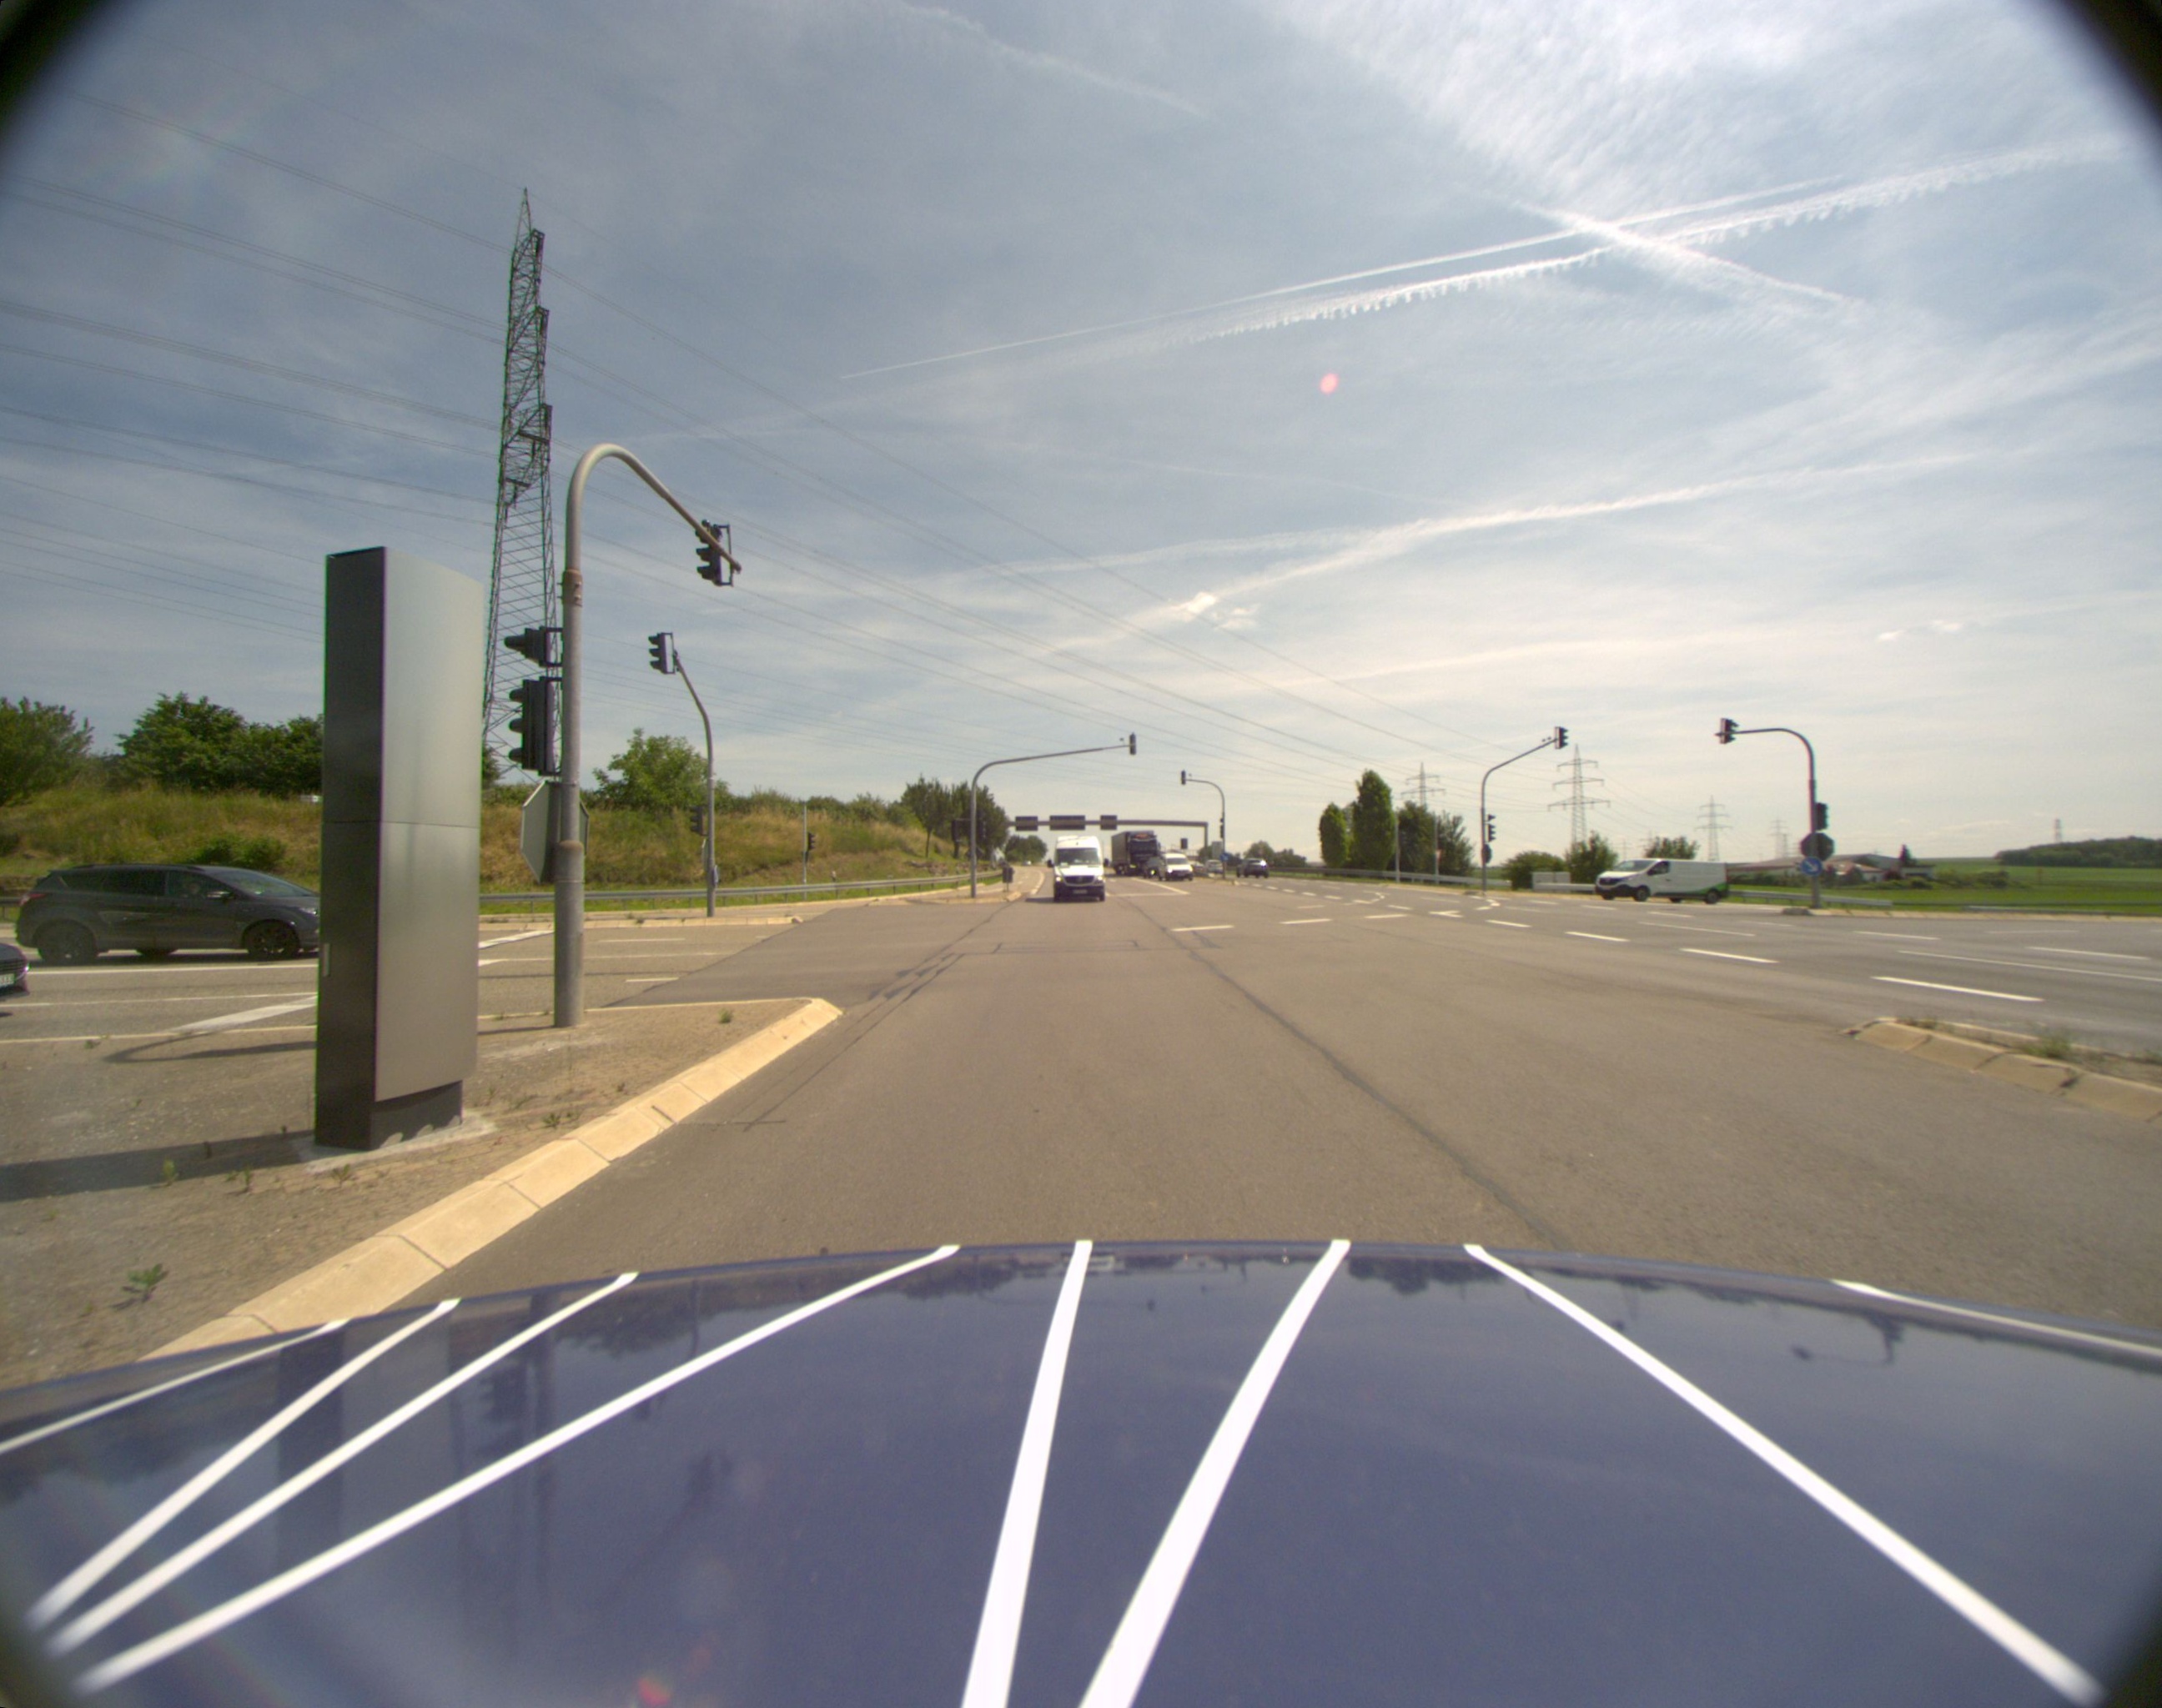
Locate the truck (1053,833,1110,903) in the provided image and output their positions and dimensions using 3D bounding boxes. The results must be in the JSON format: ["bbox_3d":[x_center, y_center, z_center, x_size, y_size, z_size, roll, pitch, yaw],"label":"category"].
[{"bbox_3d":[-0.079,0.515,30.511,1.999,2.518,5.104,-2,0,-2],"label":"truck"}]

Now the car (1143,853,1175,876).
[{"bbox_3d":[6.043,0.773,58.933,1.861,1.648,4.347,-2,0,-2],"label":"car"}]

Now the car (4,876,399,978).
[{"bbox_3d":[-15.295,1.210,13.518,4.374,1.502,1.714,-1,1,-14],"label":"car"}]

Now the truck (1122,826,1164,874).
[{"bbox_3d":[5.416,-0.374,67.360,2.791,3.990,5.969,-2,0,-3],"label":"truck"}]

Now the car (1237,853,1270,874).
[{"bbox_3d":[14.346,0.770,63.389,1.648,1.614,4.327,1,1,-1],"label":"car"}]

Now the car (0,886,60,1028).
[{"bbox_3d":[-13.463,1.152,7.372,4.002,1.502,1.714,-1,1,-15],"label":"car"}]

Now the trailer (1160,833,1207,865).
[{"bbox_3d":[13.257,-0.682,100.689,2.646,3.741,19.791,-1,1,-3],"label":"trailer"}]

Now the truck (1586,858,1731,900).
[{"bbox_3d":[25.435,1.084,33.527,5.283,1.746,1.998,1,0,-9],"label":"truck"}]

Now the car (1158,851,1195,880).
[{"bbox_3d":[6.358,0.722,51.148,1.772,1.788,4.751,-2,0,-1],"label":"car"}]

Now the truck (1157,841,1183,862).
[{"bbox_3d":[12.891,-0.392,110.486,2.807,2.996,5.988,-1,1,-1],"label":"truck"}]

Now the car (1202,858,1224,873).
[{"bbox_3d":[14.082,1.178,81.089,1.648,1.488,3.801,0,1,0],"label":"car"}]

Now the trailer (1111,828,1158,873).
[{"bbox_3d":[5.049,-0.312,74.233,2.791,3.890,13.782,-2,0,-3],"label":"trailer"}]
